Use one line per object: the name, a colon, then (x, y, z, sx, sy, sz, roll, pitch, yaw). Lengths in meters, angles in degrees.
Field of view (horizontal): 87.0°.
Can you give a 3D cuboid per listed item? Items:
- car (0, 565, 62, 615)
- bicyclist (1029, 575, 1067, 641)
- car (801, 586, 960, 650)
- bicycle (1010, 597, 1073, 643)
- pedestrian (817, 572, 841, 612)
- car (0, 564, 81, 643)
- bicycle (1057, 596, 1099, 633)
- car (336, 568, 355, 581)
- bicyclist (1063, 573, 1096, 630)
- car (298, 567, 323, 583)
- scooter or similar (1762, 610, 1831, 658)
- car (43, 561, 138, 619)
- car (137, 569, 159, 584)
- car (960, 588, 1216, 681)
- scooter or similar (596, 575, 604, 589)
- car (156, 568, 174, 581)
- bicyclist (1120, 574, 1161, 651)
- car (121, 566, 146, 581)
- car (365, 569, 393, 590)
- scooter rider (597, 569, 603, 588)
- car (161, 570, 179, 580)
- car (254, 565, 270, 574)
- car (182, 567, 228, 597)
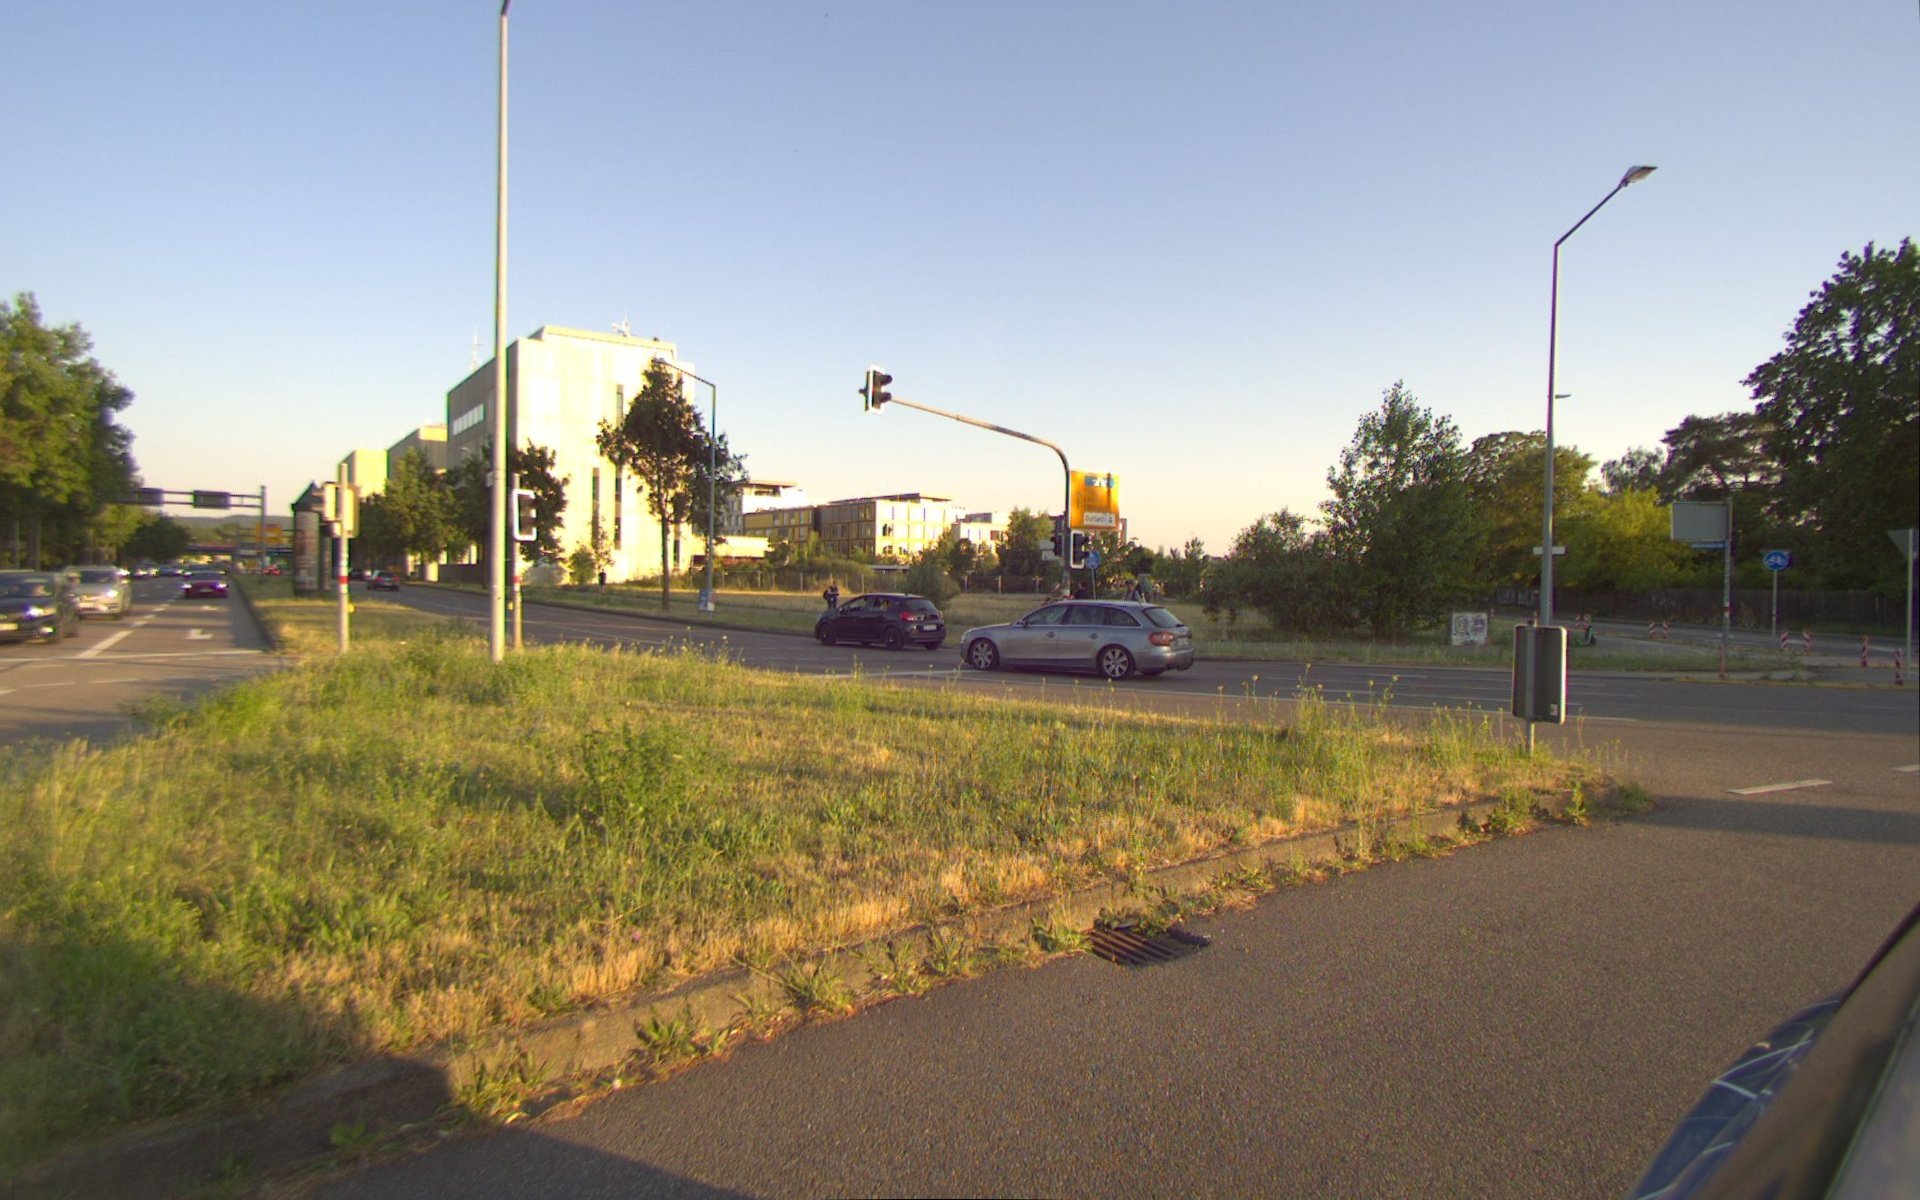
car: (-34.264, -0.375, 36.769, 1.877, 1.731, 4.941, 1, 0, -35)
bicyclist: (2.360, 0.201, 27.134, 0.757, 1.723, 0.640, -2, 3, -40)
car: (-2.139, 0.419, 26.844, 3.975, 1.482, 1.780, 2, 1, 35)
bicycle: (2.192, 0.513, 26.965, 1.894, 1.098, 0.456, -3, 3, -40)
pedestrian: (-5.287, -0.318, 40.814, 0.782, 1.569, 0.567, 0, 1, -37)
car: (-21.363, 0.035, 22.992, 1.770, 1.653, 4.454, -1, 1, -37)
bicycle: (3.695, 0.435, 31.670, 1.366, 1.102, 0.276, 2, 1, 40)
car: (-74.243, -3.084, 122.177, 1.718, 1.507, 4.136, 1, 1, -35)
bicyclist: (3.724, 0.044, 31.635, 0.840, 1.765, 0.529, 2, 1, 40)
car: (-67.848, -2.589, 105.701, 1.785, 1.544, 4.131, 1, 1, -39)
scooter or similar: (21.146, 0.857, 25.589, 1.356, 1.177, 0.442, 1, 1, -2)
car: (-28.819, -0.360, 33.674, 1.886, 1.776, 4.921, -1, 1, -35)
car: (-86.049, -2.527, 107.246, 1.589, 1.537, 3.715, -1, 2, -36)
car: (2.330, 0.558, 18.901, 4.418, 1.440, 1.781, 2, 1, 34)
scooter or similar: (-25.230, -1.260, 70.890, 0.242, 0.925, 1.039, 1, 1, -37)
car: (-96.221, -3.143, 122.544, 1.589, 1.537, 3.715, -1, 2, -36)
bicyclist: (4.671, 0.300, 26.201, 0.894, 1.921, 0.640, -2, 2, -40)
car: (-77.830, -2.515, 95.344, 1.589, 1.325, 3.715, -1, 2, -36)
car: (-42.490, -1.491, 74.081, 1.716, 1.442, 4.140, 1, 1, -29)
scooter rider: (-25.208, -1.518, 70.861, 0.260, 1.356, 0.406, 1, 1, -37)
car: (-108.678, -3.468, 139.297, 1.841, 1.325, 4.137, -1, 2, -36)
car: (-114.943, -5.063, 166.665, 1.964, 1.489, 3.997, 1, 1, -39)
car: (-39.858, -0.954, 53.495, 1.810, 1.479, 4.581, 1, 0, -35)
